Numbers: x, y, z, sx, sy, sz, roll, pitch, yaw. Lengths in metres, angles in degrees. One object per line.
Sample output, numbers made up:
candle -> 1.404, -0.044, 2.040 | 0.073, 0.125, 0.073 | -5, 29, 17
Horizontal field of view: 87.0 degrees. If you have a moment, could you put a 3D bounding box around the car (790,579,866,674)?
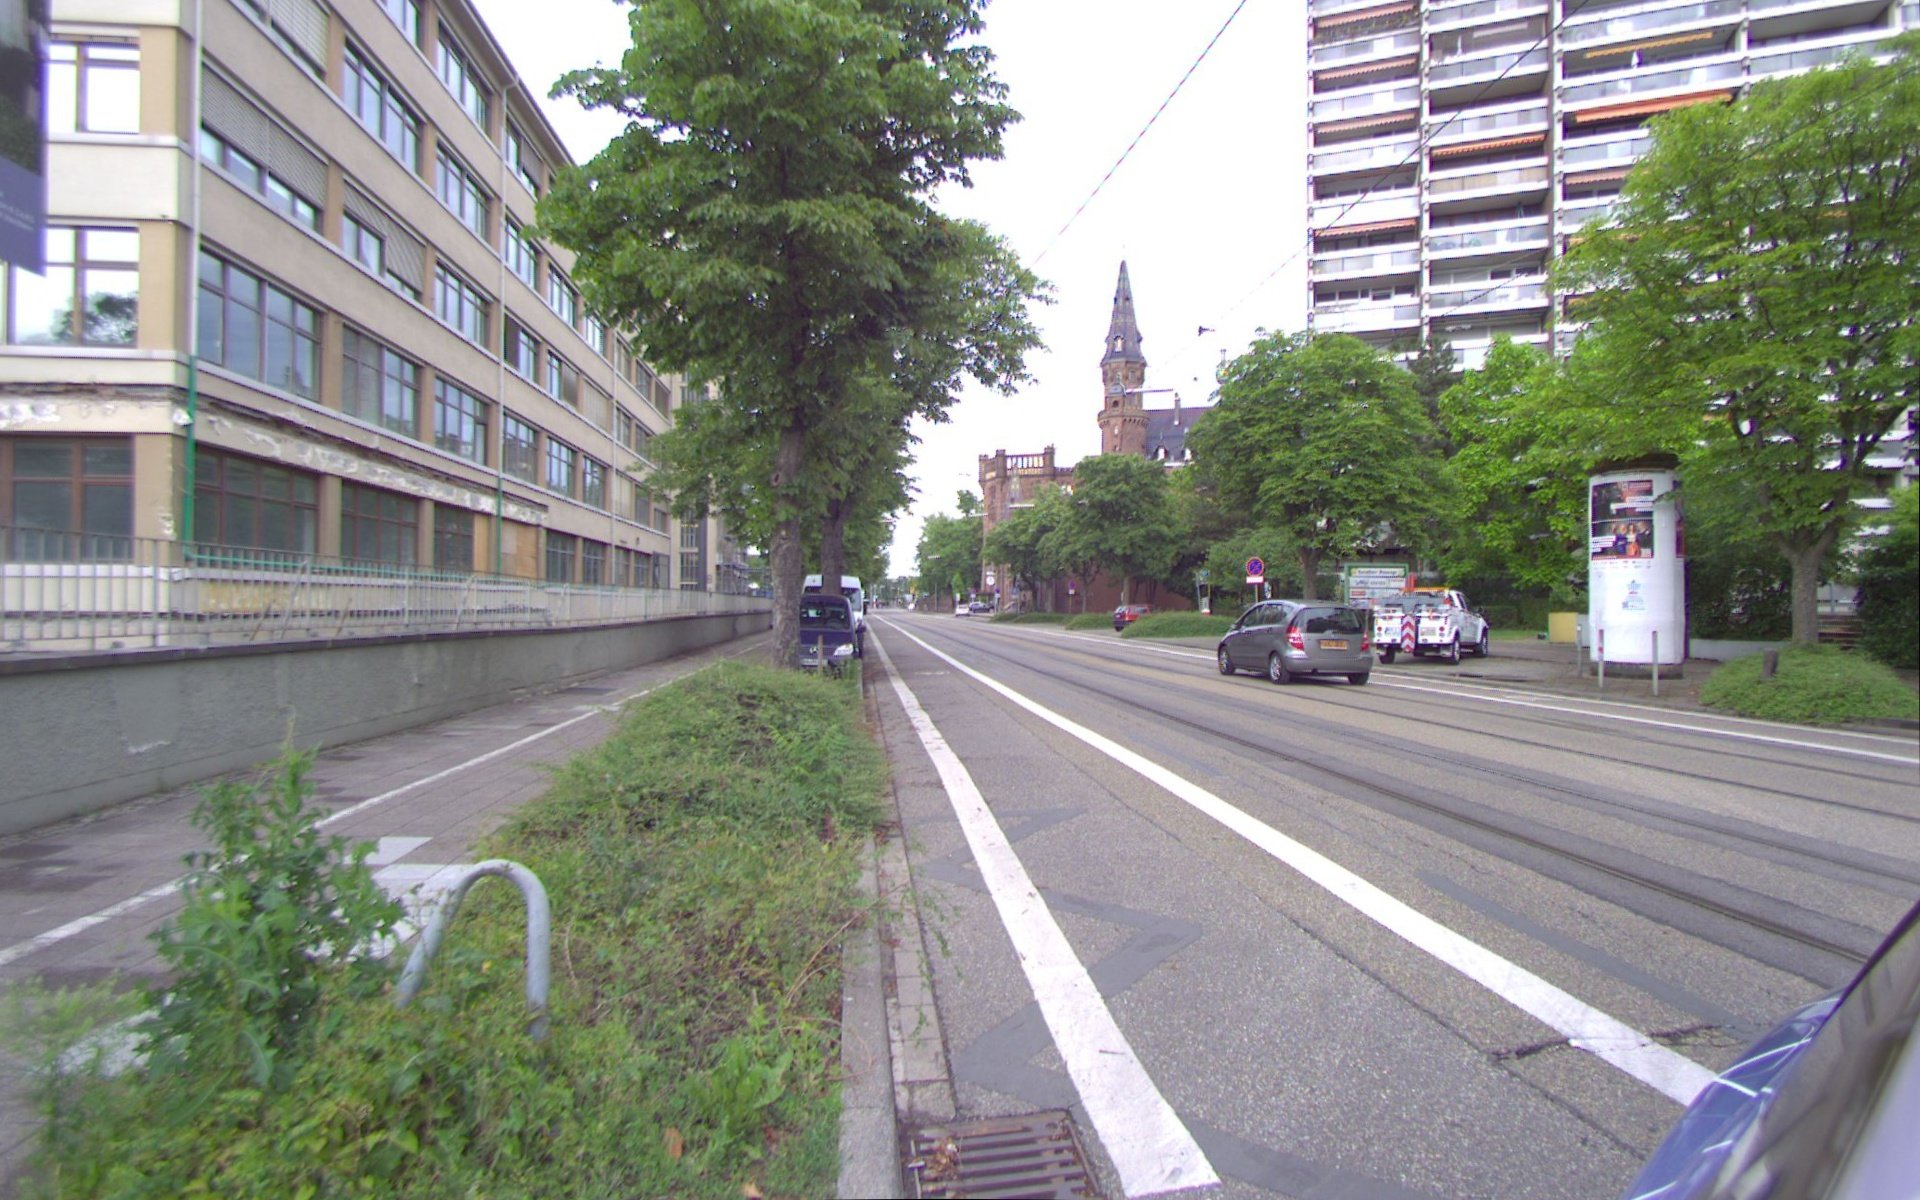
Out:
car -> -3.968, 0.761, 31.105 | 2.077, 2.635, 5.497 | -1, 0, -5

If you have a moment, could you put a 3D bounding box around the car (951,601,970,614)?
car -> 0.026, 0.903, 126.921 | 1.960, 1.549, 4.004 | 1, 0, -6

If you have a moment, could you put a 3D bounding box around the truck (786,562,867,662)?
truck -> -4.032, 0.350, 31.195 | 2.077, 2.635, 5.497 | -4, 0, -6

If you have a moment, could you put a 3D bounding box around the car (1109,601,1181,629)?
car -> 9.912, 0.768, 54.287 | 3.429, 1.394, 1.638 | -1, 1, -19

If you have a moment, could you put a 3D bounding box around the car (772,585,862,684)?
car -> -2.944, 0.652, 21.357 | 1.625, 1.835, 4.089 | 2, 0, -6

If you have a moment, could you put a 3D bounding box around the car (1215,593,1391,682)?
car -> 6.499, 0.665, 19.648 | 1.868, 1.550, 3.757 | 1, 0, -5

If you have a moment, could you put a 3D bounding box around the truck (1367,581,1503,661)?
truck -> 12.361, 0.496, 26.166 | 1.990, 1.872, 4.991 | -1, -1, 40

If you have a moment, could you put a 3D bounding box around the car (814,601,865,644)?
car -> -4.802, 0.835, 39.972 | 1.789, 1.519, 4.113 | 2, 0, -9
